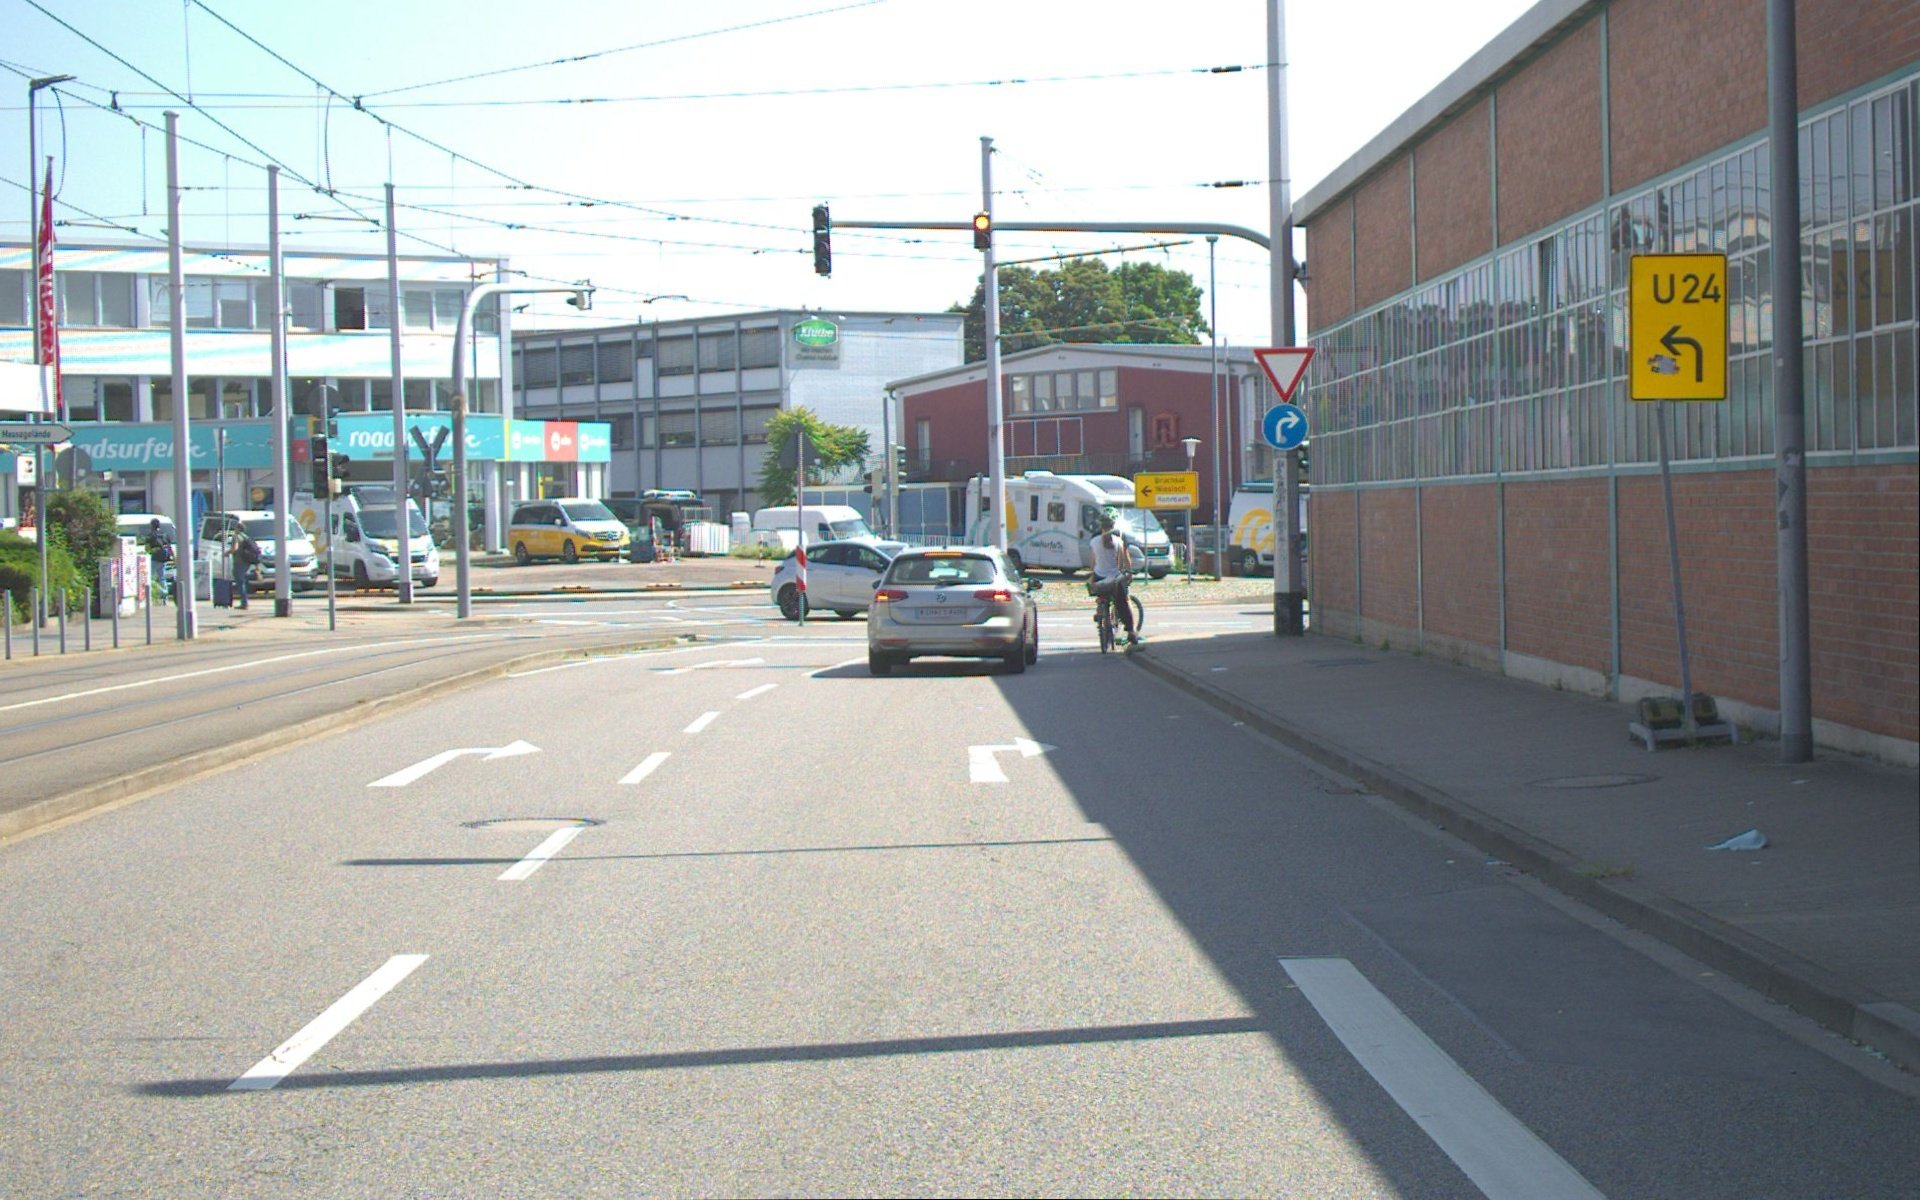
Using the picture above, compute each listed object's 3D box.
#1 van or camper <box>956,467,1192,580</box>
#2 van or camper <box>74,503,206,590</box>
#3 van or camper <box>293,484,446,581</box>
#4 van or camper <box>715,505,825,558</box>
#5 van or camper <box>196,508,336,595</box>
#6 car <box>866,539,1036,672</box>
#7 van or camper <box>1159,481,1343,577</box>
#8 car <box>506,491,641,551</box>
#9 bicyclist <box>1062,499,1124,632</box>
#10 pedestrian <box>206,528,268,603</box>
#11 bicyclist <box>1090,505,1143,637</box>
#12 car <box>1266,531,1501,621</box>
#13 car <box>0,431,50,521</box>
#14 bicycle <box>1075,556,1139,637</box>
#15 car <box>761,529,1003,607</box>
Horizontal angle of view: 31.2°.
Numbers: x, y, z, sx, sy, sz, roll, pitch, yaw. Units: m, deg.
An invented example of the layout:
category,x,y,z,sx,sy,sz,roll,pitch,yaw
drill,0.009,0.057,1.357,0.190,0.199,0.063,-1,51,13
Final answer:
category,x,y,z,sx,sy,sz,roll,pitch,yaw
van or camper,3.108,-2.192,95.695,2.347,2.920,6.983,-4,5,-42
van or camper,-21.140,-1.406,88.513,1.993,2.006,4.763,-3,4,-30
van or camper,-15.559,-1.817,90.352,2.031,2.288,5.813,-3,4,-30
van or camper,-7.227,-2.602,130.547,3.997,1.941,1.995,0,2,44
van or camper,-17.970,-1.281,88.838,1.993,2.006,5.011,-3,4,-30
car,-0.055,0.033,40.716,1.746,1.454,4.000,-1,1,3
van or camper,8.333,-2.073,98.870,2.283,2.431,5.386,-3,6,-36
car,-11.743,-2.380,104.143,1.938,1.753,5.122,-2,1,-33
bicyclist,1.753,-0.456,45.110,0.786,1.716,1.147,-1,1,3
pedestrian,-14.231,-0.683,67.724,1.129,1.450,0.838,-1,1,-9
bicyclist,2.166,-0.409,47.535,0.708,1.804,0.983,-1,1,2
car,7.527,-0.441,61.354,3.987,1.503,1.879,-1,1,2
car,-18.208,-2.170,60.130,3.987,1.513,2.000,0,3,3
bicycle,1.950,-0.060,45.335,0.794,1.018,2.150,0,1,4
car,-1.445,-0.576,62.967,4.200,1.370,1.799,0,1,37
